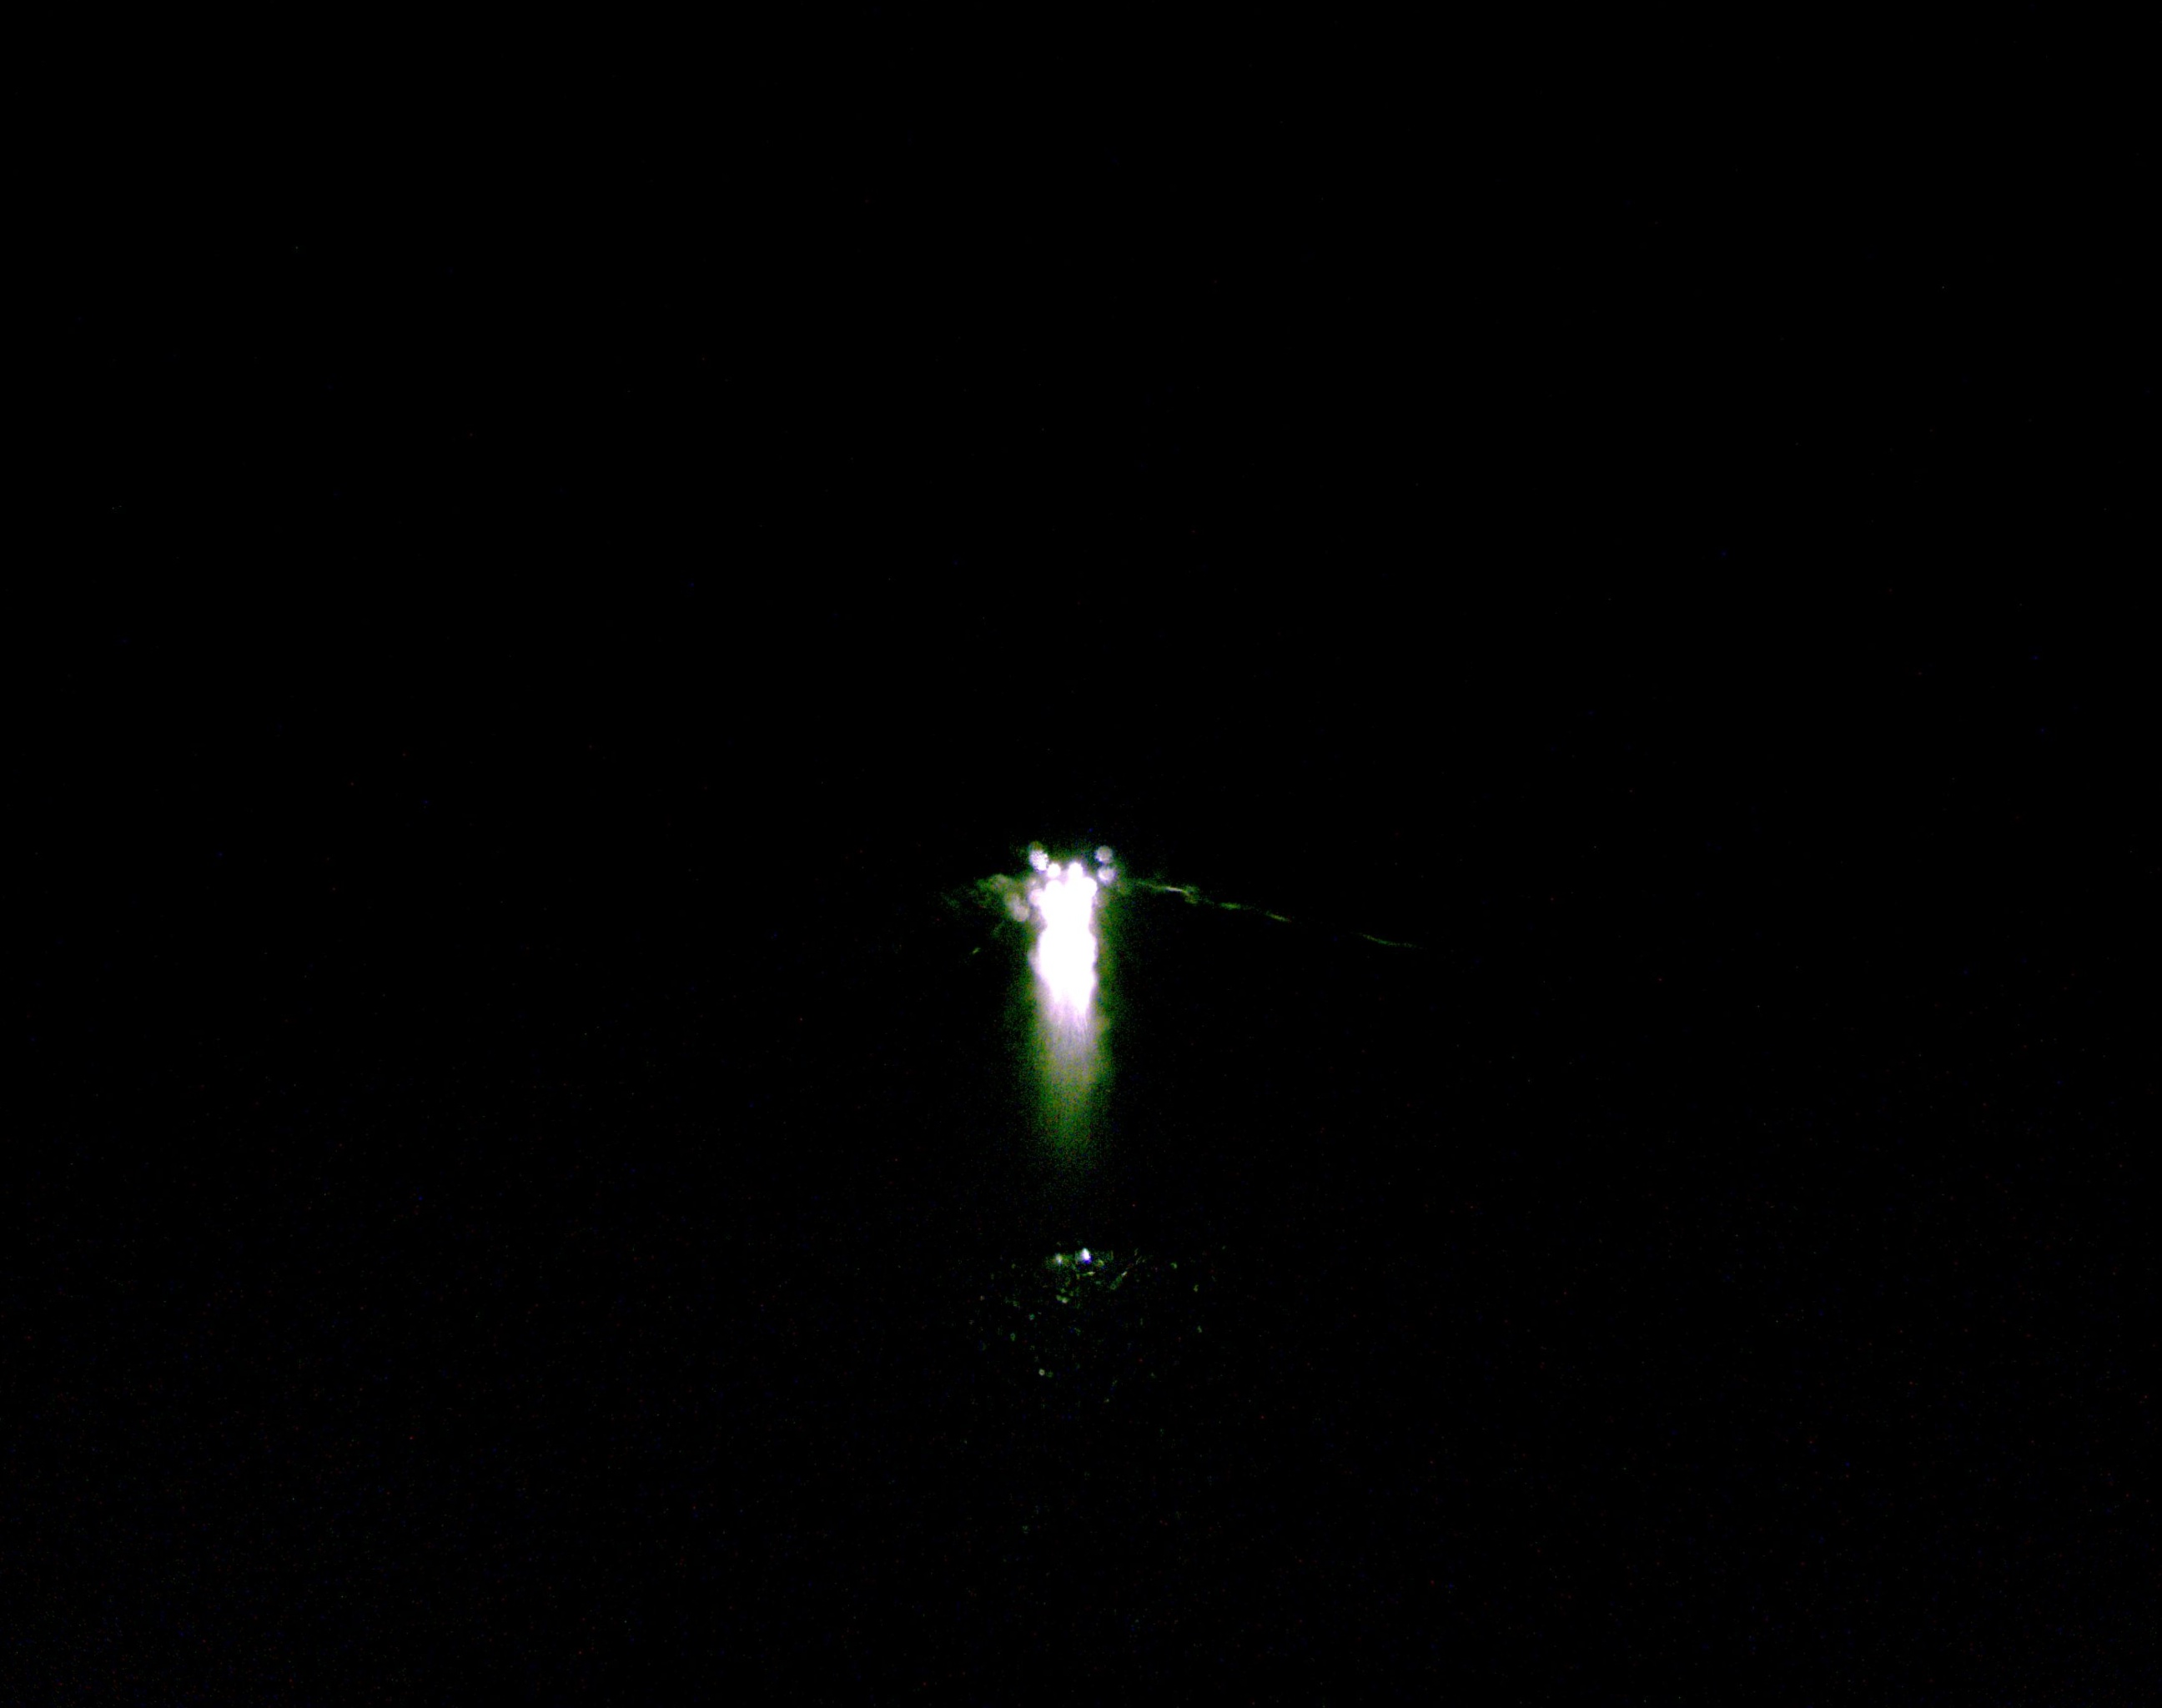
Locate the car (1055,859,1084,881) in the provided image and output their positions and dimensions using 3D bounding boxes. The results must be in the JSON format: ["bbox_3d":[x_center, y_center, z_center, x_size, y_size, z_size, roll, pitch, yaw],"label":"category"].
[{"bbox_3d":[-0.840,1.106,54.532,1.999,1.412,3.999,-1,1,-1],"label":"car"}]
